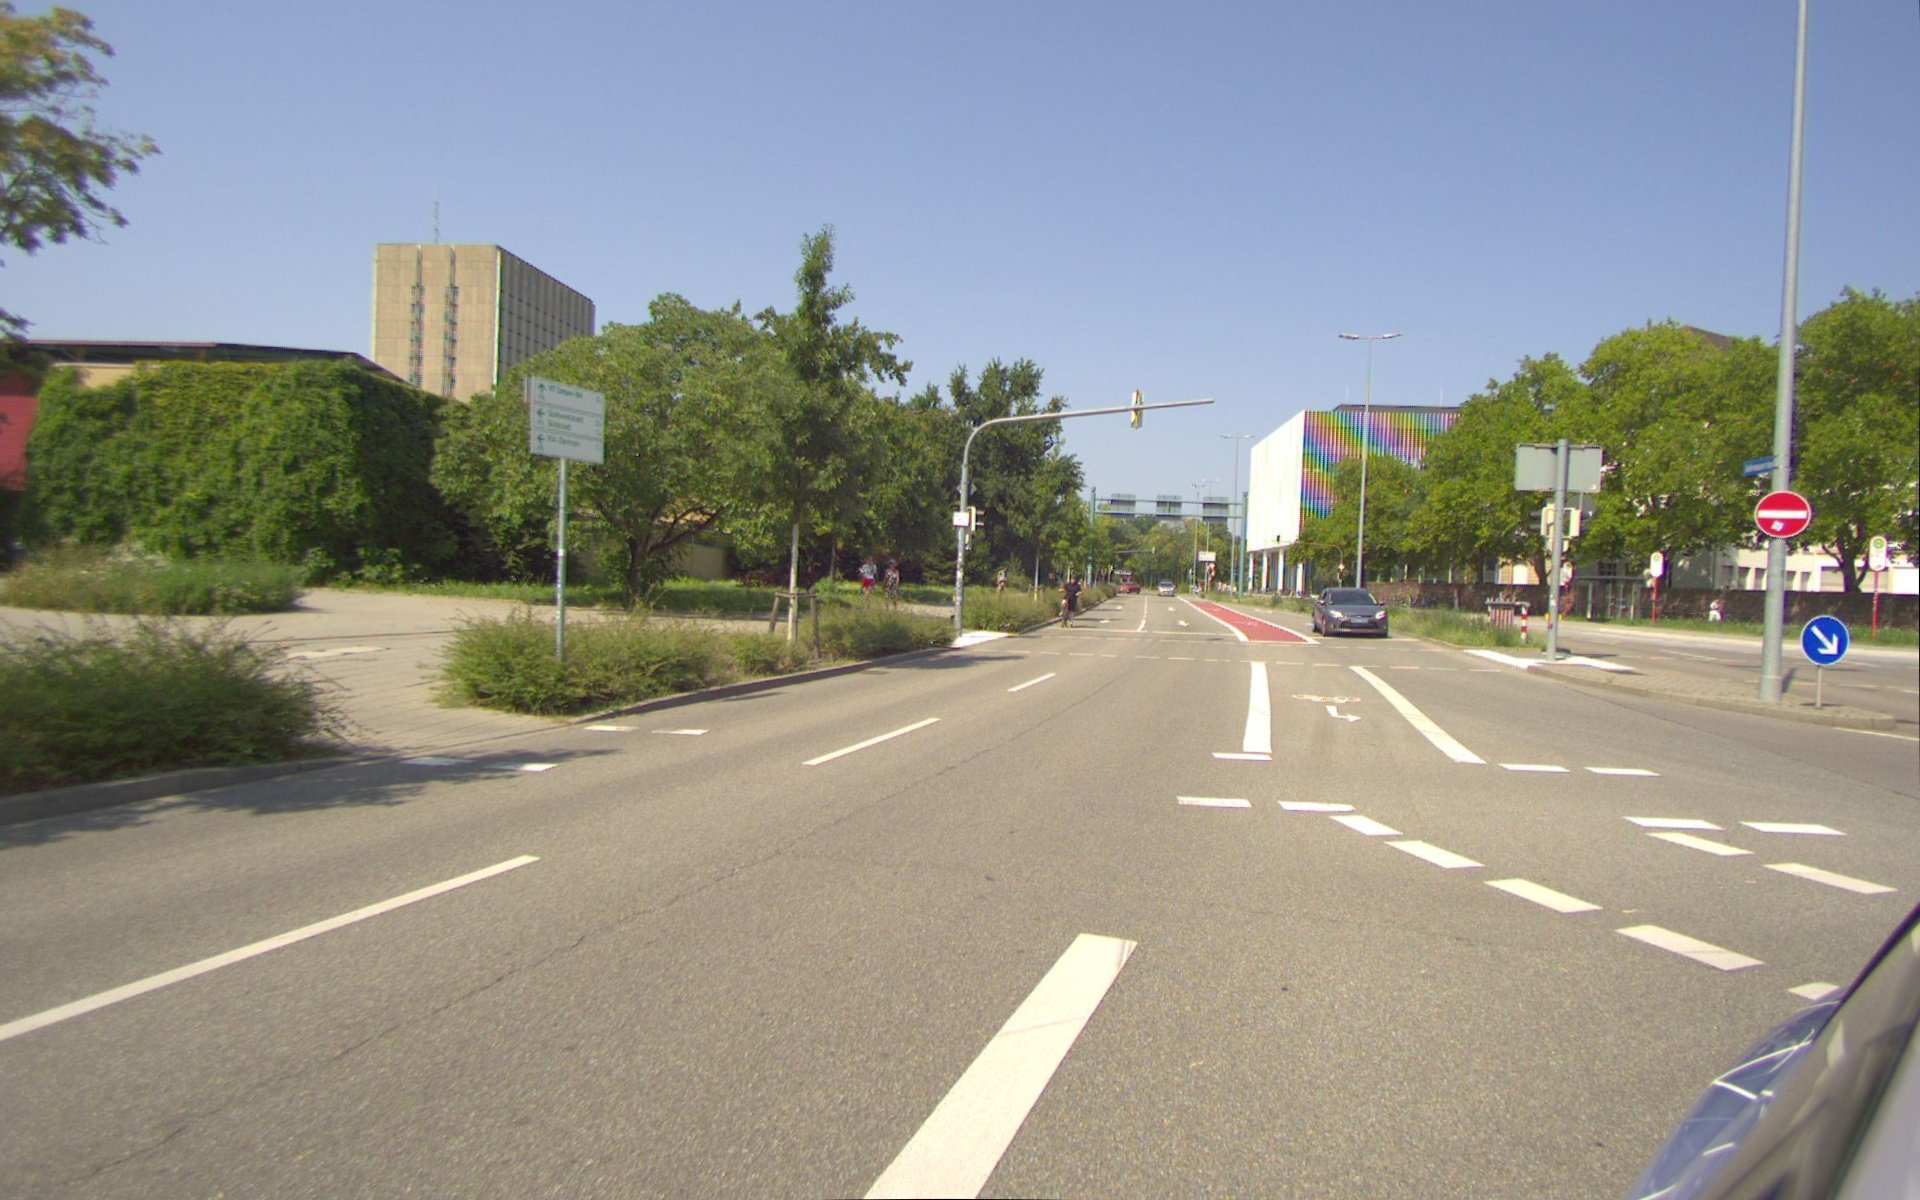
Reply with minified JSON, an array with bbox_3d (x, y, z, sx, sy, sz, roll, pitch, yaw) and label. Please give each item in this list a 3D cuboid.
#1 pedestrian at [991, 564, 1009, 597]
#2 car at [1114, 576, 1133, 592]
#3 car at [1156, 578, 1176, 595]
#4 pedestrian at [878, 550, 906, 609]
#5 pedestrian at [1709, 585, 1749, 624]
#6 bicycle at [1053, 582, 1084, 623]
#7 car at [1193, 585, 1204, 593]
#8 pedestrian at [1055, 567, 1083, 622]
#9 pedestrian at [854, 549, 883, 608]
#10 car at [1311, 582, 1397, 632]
[{"bbox_3d":[2.208,-1.067,55.870,0.781,1.790,0.824,3,1,12],"label":"pedestrian"},{"bbox_3d":[20.999,-2.040,130.158,2.048,1.940,4.188,3,2,6],"label":"car"},{"bbox_3d":[22.374,-1.508,110.035,1.969,1.699,3.988,2,1,11],"label":"car"},{"bbox_3d":[-2.088,-0.633,31.168,0.683,1.793,0.585,3,1,12],"label":"pedestrian"},{"bbox_3d":[41.860,0.233,55.126,1.050,2.038,1.237,3,2,-12],"label":"pedestrian"},{"bbox_3d":[3.466,0.068,32.162,0.774,1.227,1.783,3,2,12],"label":"bicycle"},{"bbox_3d":[38.814,-1.735,164.623,1.566,1.150,3.253,3,2,11],"label":"car"},{"bbox_3d":[3.454,-0.173,32.059,0.769,1.690,0.547,3,1,12],"label":"pedestrian"},{"bbox_3d":[-2.829,-0.664,31.266,0.683,1.793,0.585,3,1,12],"label":"pedestrian"},{"bbox_3d":[11.737,0.175,30.325,1.763,1.374,3.414,1,1,11],"label":"car"}]
